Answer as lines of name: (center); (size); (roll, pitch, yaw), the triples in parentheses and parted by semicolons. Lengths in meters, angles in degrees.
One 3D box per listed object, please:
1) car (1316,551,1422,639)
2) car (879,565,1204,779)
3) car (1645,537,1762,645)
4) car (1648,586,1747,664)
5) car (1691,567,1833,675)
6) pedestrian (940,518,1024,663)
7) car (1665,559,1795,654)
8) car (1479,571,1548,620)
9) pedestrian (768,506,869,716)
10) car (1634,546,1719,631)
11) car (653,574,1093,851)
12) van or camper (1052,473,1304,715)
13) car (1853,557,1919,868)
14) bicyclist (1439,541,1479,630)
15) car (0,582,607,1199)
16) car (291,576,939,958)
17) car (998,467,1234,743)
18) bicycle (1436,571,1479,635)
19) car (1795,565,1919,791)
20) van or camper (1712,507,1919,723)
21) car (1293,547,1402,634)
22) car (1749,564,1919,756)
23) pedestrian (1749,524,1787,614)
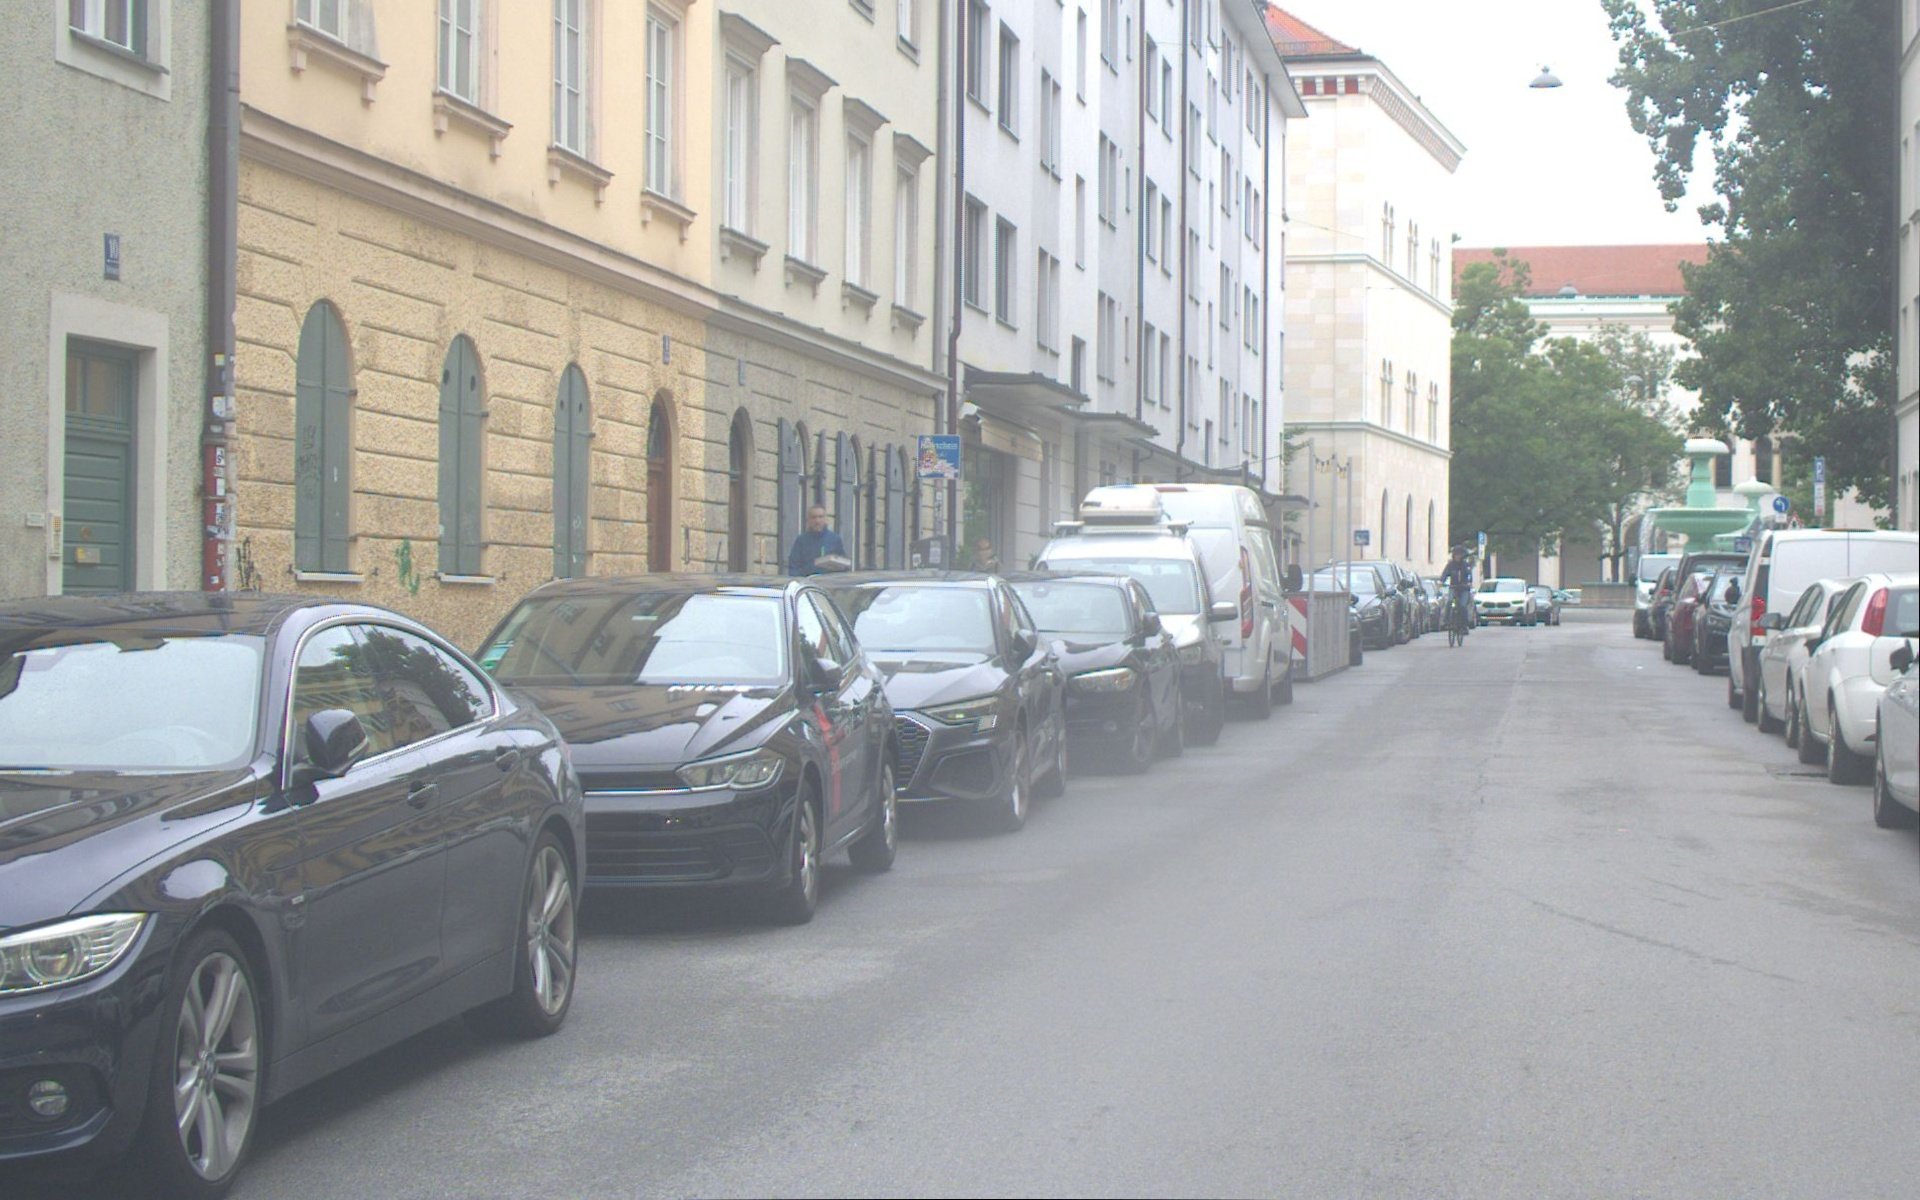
car: (8.251, -0.132, 69.065); (1.873, 1.682, 4.518); (-1, 1, 10)
car: (0.695, 0.462, 25.362); (1.858, 1.397, 4.268); (1, 1, 8)
car: (13.220, -0.151, 61.317); (1.847, 1.770, 4.199); (3, 0, 11)
car: (16.006, 0.518, 74.776); (1.808, 1.595, 4.214); (2, 1, 9)
car: (11.371, 0.266, 48.929); (1.746, 1.459, 3.998); (1, 1, 10)
pedestrian: (0.267, -0.126, 41.179); (0.806, 1.706, 1.021); (1, 1, 12)
car: (12.170, 0.092, 54.551); (1.714, 1.419, 4.456); (1, 0, 9)
car: (17.789, -0.131, 110.308); (1.779, 1.529, 4.208); (-1, -1, 15)
pedestrian: (-1.371, 0.098, 33.389); (0.806, 2.007, 0.749); (1, 1, 12)
car: (16.853, -0.275, 80.783); (1.883, 1.918, 4.872); (1, 0, 12)
car: (-0.389, 0.572, 20.284); (1.858, 1.397, 4.268); (1, 1, 8)
van or camper: (2.346, -0.094, 35.542); (1.994, 2.303, 5.476); (0, 1, 10)
car: (5.807, 0.532, 18.234); (1.717, 1.504, 4.467); (1, 1, 10)
bicyclist: (9.229, -0.279, 63.587); (0.686, 1.621, 0.852); (1, 1, 9)
car: (-2.398, 0.684, 9.236); (1.858, 1.397, 4.268); (1, 1, 8)
car: (-1.352, 0.621, 15.328); (1.858, 1.397, 4.268); (1, 1, 8)
car: (1.442, 0.012, 30.155); (1.857, 2.194, 4.560); (1, 1, 5)
bicycle: (9.204, 0.040, 63.551); (0.732, 1.147, 1.999); (1, 1, 9)
car: (6.995, 0.505, 24.722); (1.624, 1.504, 3.760); (1, 1, 9)
van or camper: (8.782, 0.107, 34.749); (1.994, 2.007, 5.231); (1, 1, 9)
car: (7.230, -0.202, 63.912); (1.774, 1.534, 4.157); (-1, 1, 10)
car: (7.900, 0.456, 29.483); (1.816, 1.504, 4.586); (0, 1, 8)
pedestrian: (19.836, -0.769, 84.416); (0.793, 2.190, 0.813); (1, 1, 10)
